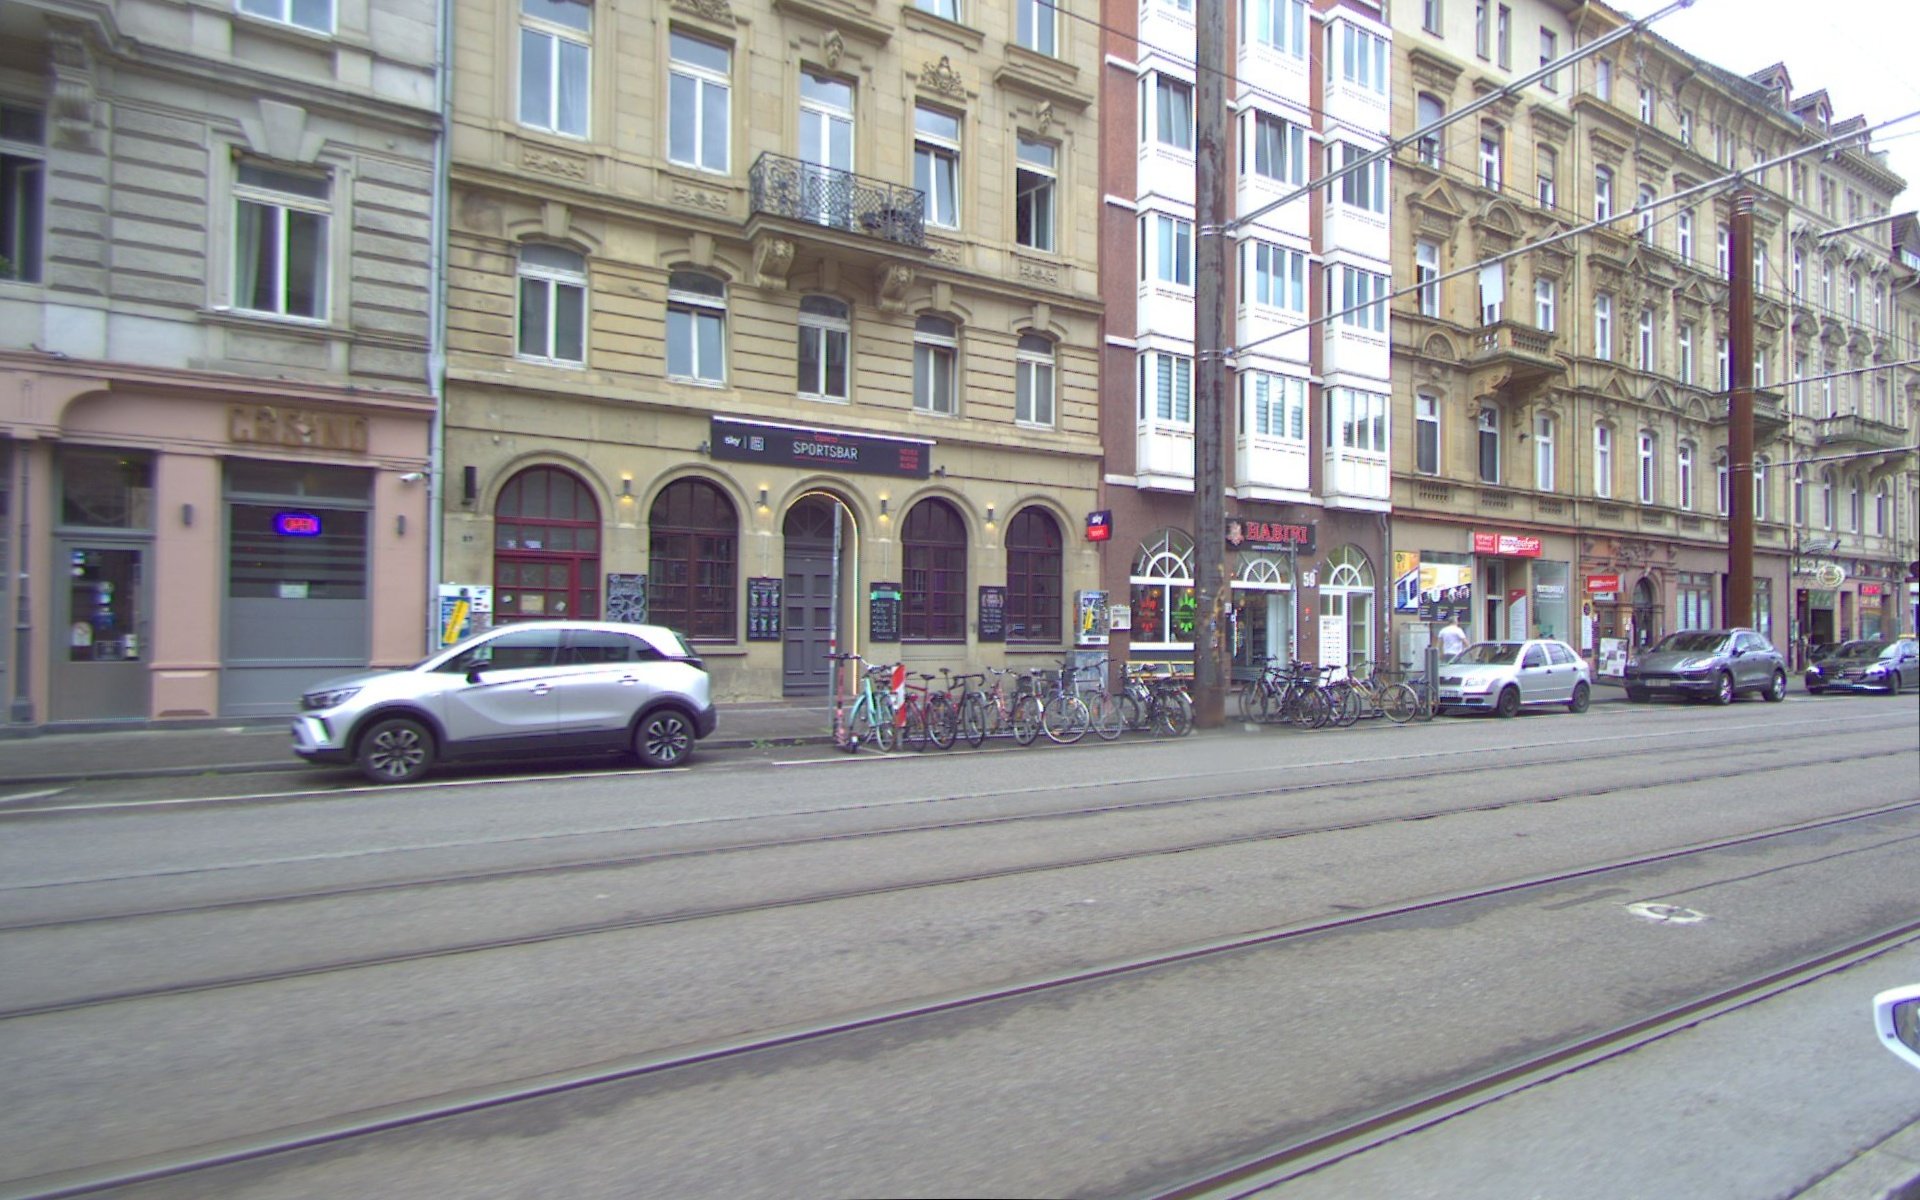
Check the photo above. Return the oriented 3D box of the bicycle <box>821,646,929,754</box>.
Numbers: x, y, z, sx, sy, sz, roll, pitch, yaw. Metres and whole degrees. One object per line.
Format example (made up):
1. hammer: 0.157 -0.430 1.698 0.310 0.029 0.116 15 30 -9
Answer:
1. bicycle: -1.157 1.249 13.121 0.541 1.219 2.272 1 -1 -29

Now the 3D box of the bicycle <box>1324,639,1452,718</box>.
1. bicycle: 7.677 1.397 18.146 0.514 1.346 2.273 1 -4 -29

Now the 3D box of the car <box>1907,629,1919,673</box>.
1. car: 33.200 1.661 33.153 4.118 1.441 1.762 1 -4 -32

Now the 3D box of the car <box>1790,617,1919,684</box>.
1. car: 25.394 1.405 28.017 4.995 1.711 1.910 1 -4 -32

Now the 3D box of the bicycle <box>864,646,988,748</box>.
1. bicycle: -0.506 1.247 13.340 0.696 1.219 2.273 1 -4 -29

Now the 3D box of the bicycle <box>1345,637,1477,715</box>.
1. bicycle: 8.270 1.381 18.549 0.658 1.346 2.273 1 -4 -29

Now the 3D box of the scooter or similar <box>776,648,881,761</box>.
1. scooter or similar: -1.726 1.273 12.852 0.541 1.219 2.272 1 -1 -29

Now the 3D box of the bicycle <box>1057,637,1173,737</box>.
1. bicycle: 2.310 1.270 15.289 0.443 1.311 2.272 1 0 -29

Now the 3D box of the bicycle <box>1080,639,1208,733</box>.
1. bicycle: 2.806 1.303 15.603 0.658 1.346 2.273 1 -4 -29

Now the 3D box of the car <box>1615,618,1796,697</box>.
1. car: 17.738 1.310 23.835 4.977 1.712 1.803 1 -3 -33

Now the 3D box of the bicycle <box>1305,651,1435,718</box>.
1. bicycle: 7.238 1.466 17.879 0.612 1.055 2.272 1 -1 -29

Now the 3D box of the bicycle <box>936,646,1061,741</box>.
1. bicycle: 0.493 1.287 14.186 0.696 1.219 2.273 1 -4 -29

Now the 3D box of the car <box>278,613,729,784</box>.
1. car: -4.818 0.955 10.944 4.176 1.553 1.735 1 -3 -31

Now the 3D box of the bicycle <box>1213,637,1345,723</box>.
1. bicycle: 5.296 1.322 16.864 0.658 1.346 2.273 1 -4 -29

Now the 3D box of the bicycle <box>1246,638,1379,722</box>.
1. bicycle: 6.008 1.352 17.267 0.658 1.346 2.273 1 -4 -29

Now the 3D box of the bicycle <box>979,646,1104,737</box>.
1. bicycle: 1.132 1.296 14.613 0.658 1.219 2.273 1 -4 -29

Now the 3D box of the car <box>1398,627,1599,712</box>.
1. car: 10.622 1.312 19.769 3.875 1.508 1.735 1 -3 -31

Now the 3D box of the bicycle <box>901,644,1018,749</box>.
1. bicycle: -0.061 1.255 13.645 0.534 1.219 2.272 2 -1 -29

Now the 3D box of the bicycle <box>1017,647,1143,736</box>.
1. bicycle: 1.741 1.329 14.971 0.658 1.219 2.273 1 -4 -29

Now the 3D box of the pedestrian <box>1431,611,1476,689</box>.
1. pedestrian: 11.628 1.170 23.685 0.769 1.806 0.655 1 0 7
